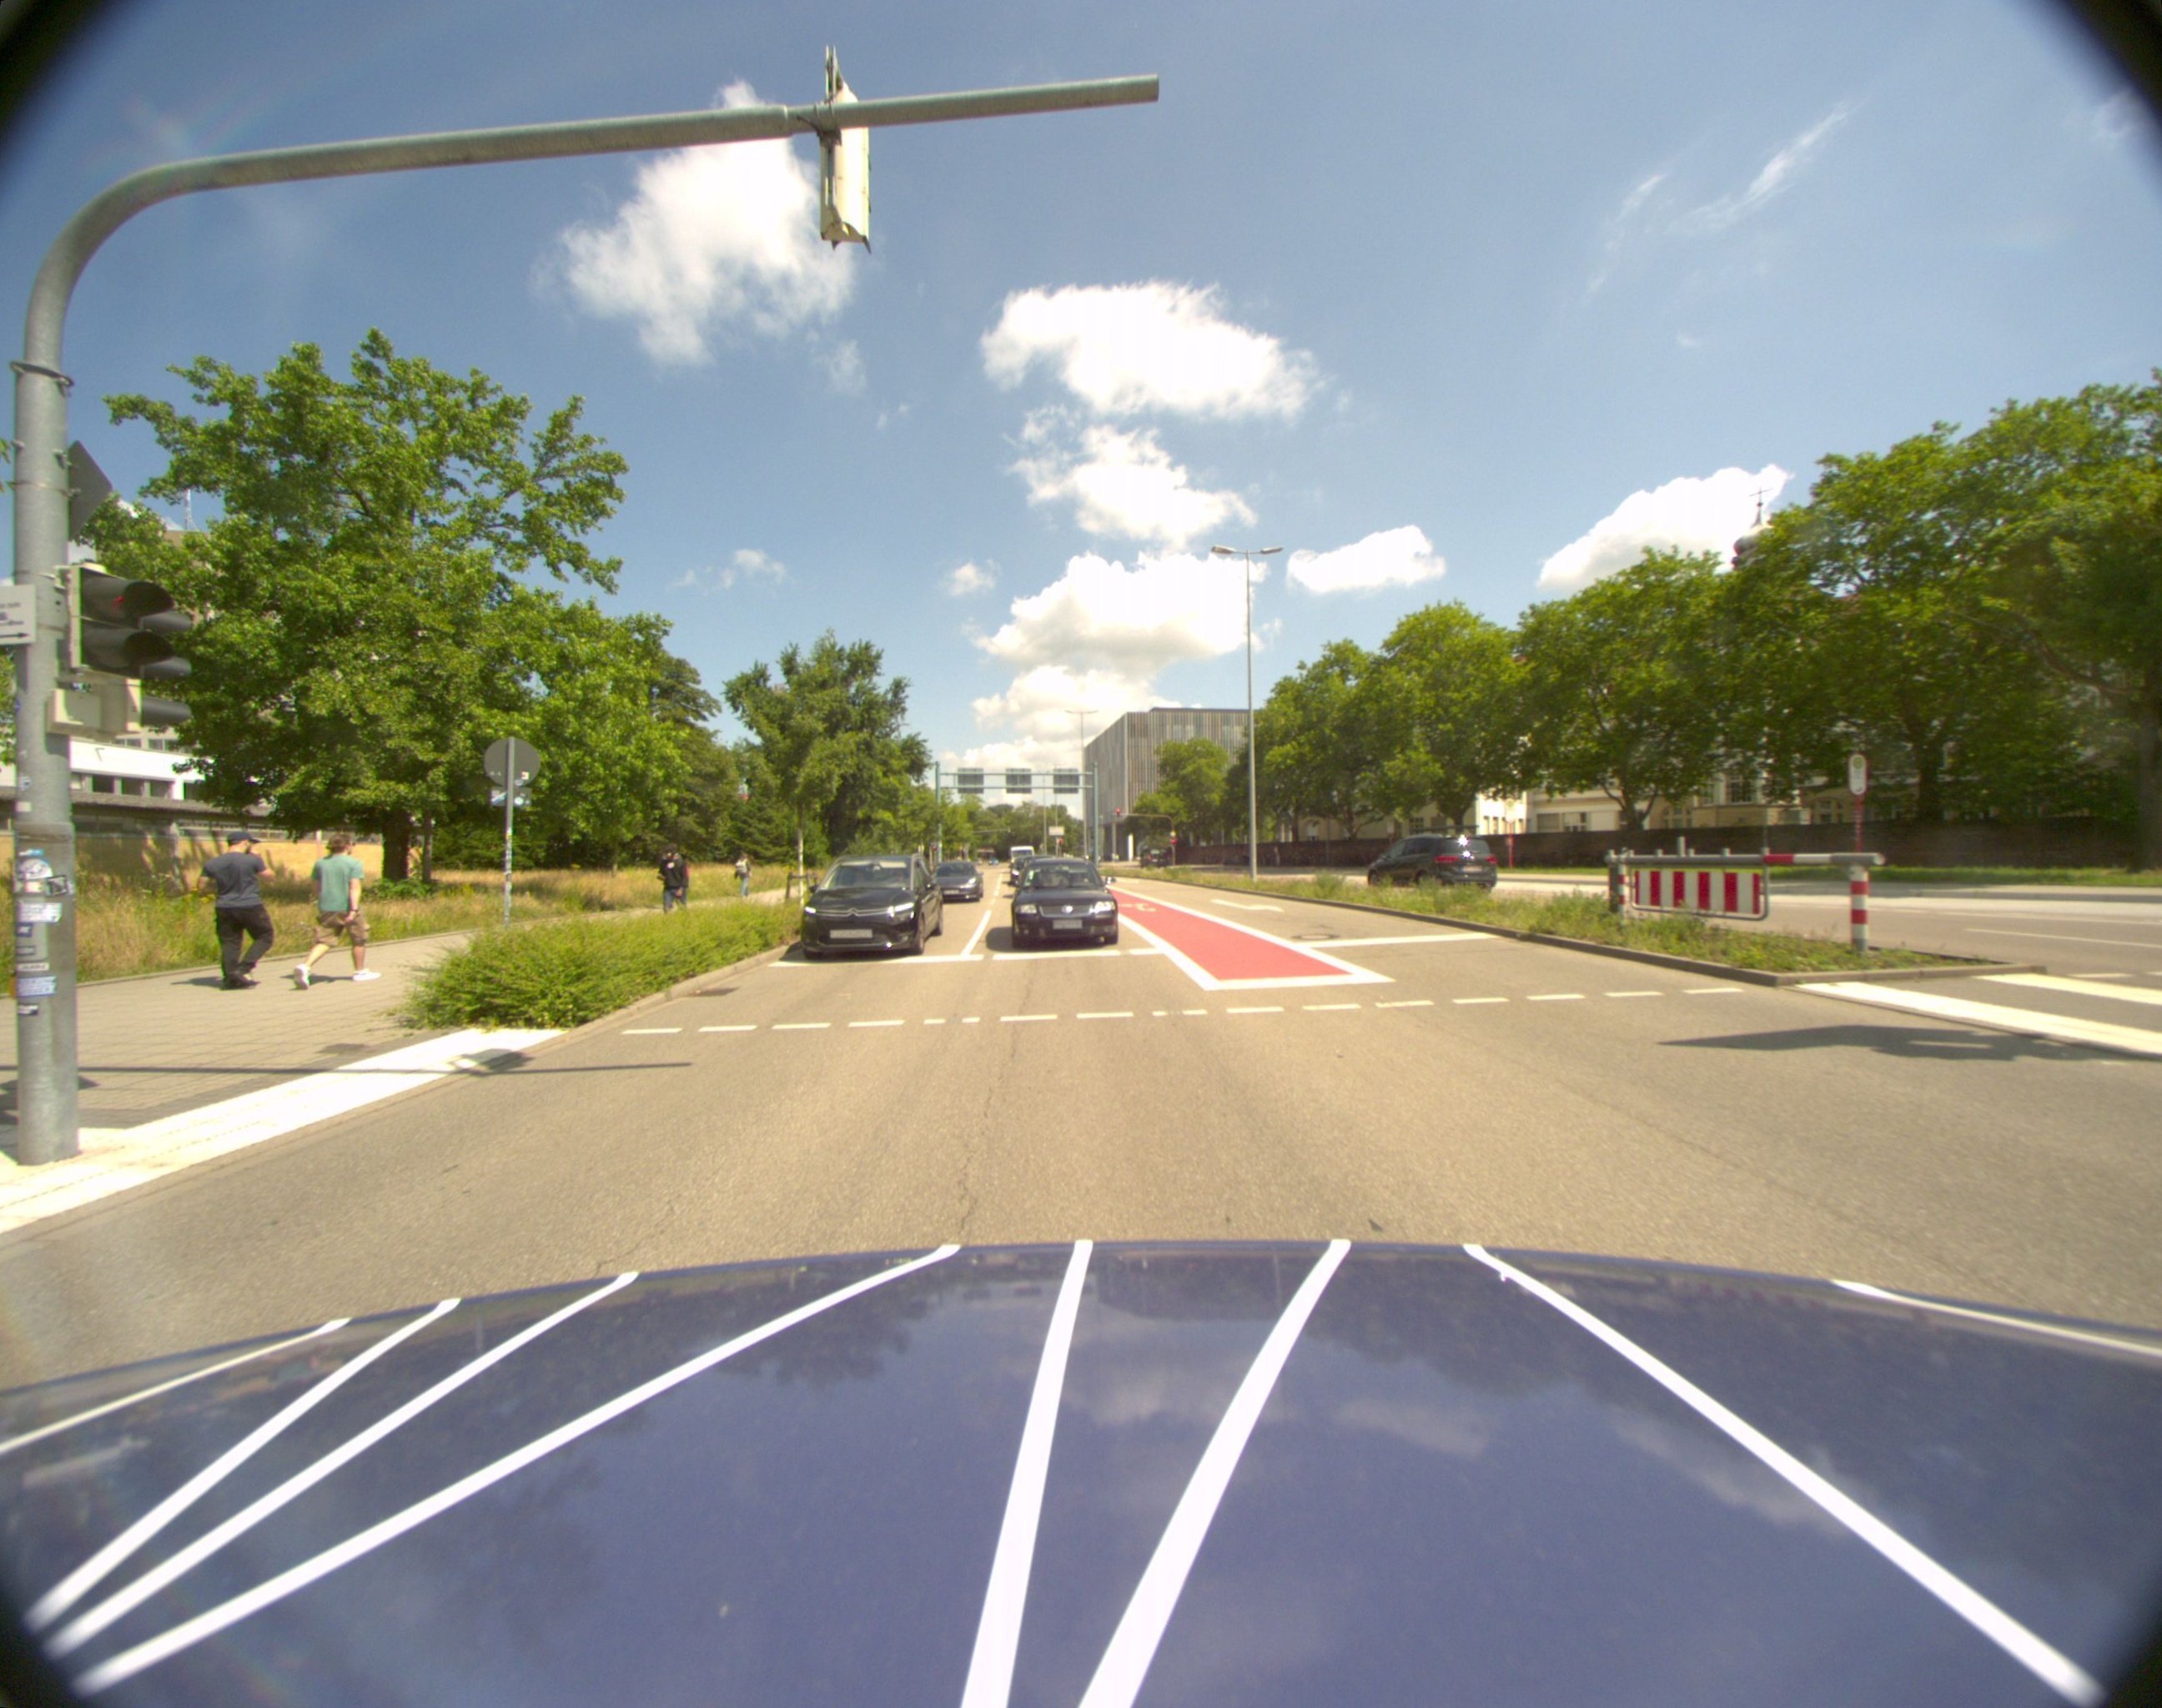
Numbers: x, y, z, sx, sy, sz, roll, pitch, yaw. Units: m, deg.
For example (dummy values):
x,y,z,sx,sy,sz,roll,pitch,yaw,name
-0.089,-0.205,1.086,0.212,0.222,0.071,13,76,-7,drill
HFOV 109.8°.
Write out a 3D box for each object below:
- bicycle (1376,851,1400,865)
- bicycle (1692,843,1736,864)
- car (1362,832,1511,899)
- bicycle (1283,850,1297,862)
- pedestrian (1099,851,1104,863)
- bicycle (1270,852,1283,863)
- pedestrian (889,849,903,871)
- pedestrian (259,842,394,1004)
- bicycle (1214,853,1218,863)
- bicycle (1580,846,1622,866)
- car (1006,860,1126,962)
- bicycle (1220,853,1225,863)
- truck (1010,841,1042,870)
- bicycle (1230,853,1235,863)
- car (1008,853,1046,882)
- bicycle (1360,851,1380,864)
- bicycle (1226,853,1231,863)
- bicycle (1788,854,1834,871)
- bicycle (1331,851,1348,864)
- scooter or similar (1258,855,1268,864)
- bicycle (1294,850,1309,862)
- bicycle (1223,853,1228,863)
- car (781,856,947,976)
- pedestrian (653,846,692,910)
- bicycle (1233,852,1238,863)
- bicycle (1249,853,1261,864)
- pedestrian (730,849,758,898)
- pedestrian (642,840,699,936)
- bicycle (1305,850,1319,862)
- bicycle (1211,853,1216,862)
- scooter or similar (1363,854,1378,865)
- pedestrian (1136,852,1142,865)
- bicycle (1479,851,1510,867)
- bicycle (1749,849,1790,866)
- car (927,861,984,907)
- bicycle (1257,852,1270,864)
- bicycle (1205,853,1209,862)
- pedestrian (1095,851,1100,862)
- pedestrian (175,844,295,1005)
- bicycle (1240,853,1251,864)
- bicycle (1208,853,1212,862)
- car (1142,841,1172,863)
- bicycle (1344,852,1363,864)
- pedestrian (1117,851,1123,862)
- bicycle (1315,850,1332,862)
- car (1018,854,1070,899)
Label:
x,y,z,sx,sy,sz,roll,pitch,yaw,name
23.393,0.279,57.870,0.398,1.037,1.954,-1,1,-23,bicycle
32.909,-0.027,39.519,0.398,1.024,1.683,-2,1,-33,bicycle
9.676,0.290,21.095,1.887,1.614,4.153,-2,0,-5,car
19.146,0.190,69.571,0.383,1.037,1.667,-1,1,-18,bicycle
3.312,0.412,122.656,0.632,1.907,0.718,-3,2,-9,pedestrian
18.404,0.299,71.494,0.383,1.037,1.667,-1,1,-18,bicycle
-14.796,0.472,60.795,0.845,1.755,0.841,-2,2,-6,pedestrian
-8.702,0.760,8.810,0.752,1.767,0.881,0,0,-12,pedestrian
14.988,0.432,84.200,0.329,1.012,1.672,-1,0,15,bicycle
30.194,0.134,44.117,0.398,1.130,2.034,-1,1,-30,bicycle
-0.411,0.872,13.790,1.752,1.426,4.518,-3,0,-5,car
15.254,0.425,82.137,0.382,1.101,1.672,-1,1,15,bicycle
-4.858,0.117,66.762,2.463,2.287,5.812,-3,0,-7,truck
15.951,0.430,80.087,0.382,1.101,1.672,-1,1,15,bicycle
-3.120,0.727,43.215,1.752,1.496,4.517,-3,0,-8,car
22.665,0.291,59.679,0.398,1.037,1.758,-1,1,-22,bicycle
15.755,0.426,80.931,0.382,1.101,1.672,-1,1,15,bicycle
34.961,0.404,36.401,0.398,0.784,1.540,-2,1,-33,bicycle
21.429,0.306,63.013,0.398,1.037,1.581,-1,1,-20,bicycle
17.449,0.500,72.801,0.353,0.838,1.068,-1,1,-19,scooter or similar
19.677,0.161,67.914,0.383,1.037,1.667,-1,1,-18,bicycle
15.560,0.420,81.730,0.382,1.101,1.672,-1,1,15,bicycle
-3.521,0.900,13.239,1.863,1.613,4.518,-3,0,-5,car
-11.192,0.655,20.830,0.751,1.739,0.667,0,0,-6,pedestrian
16.168,0.366,79.349,0.382,1.101,1.672,-1,1,15,bicycle
17.313,0.423,75.661,0.383,1.101,1.668,-1,1,-17,bicycle
-12.169,0.713,27.474,0.668,1.739,0.877,0,0,-6,pedestrian
-7.725,0.624,14.344,0.668,1.739,0.847,0,0,-6,pedestrian
20.168,0.140,66.426,0.378,1.037,1.414,-1,1,-20,bicycle
14.804,0.421,84.897,0.329,1.012,1.672,-1,0,15,bicycle
22.364,0.427,58.707,0.354,0.789,1.067,-1,1,-31,scooter or similar
8.730,0.602,114.049,0.715,1.906,0.807,-3,2,-11,pedestrian
27.052,0.323,49.717,0.398,1.037,1.954,-1,1,-25,bicycle
34.136,0.175,37.687,0.398,0.784,1.462,-2,1,-33,bicycle
-4.428,1.010,27.368,1.766,1.409,4.361,-3,0,-7,car
17.811,0.389,74.035,0.383,1.101,1.667,-1,1,-18,bicycle
14.360,0.407,86.516,0.329,1.012,1.672,-1,0,15,bicycle
3.095,0.459,142.089,0.715,1.906,0.807,-3,2,-11,pedestrian
-9.482,0.762,8.539,0.668,1.736,0.609,0,0,-12,pedestrian
16.830,0.451,77.633,0.383,1.101,1.668,-1,1,-15,bicycle
14.571,0.411,85.805,0.329,1.012,1.672,-1,0,15,bicycle
7.736,-0.229,77.465,2.215,2.158,4.518,0,0,-5,car
22.026,0.330,61.384,0.398,0.998,1.759,-1,1,-20,bicycle
7.092,0.399,136.971,0.826,1.906,0.807,-3,2,-11,pedestrian
20.711,0.167,64.927,0.398,1.037,1.759,-1,1,-20,bicycle
-1.506,0.812,29.313,1.752,1.496,4.518,-3,0,-5,car
